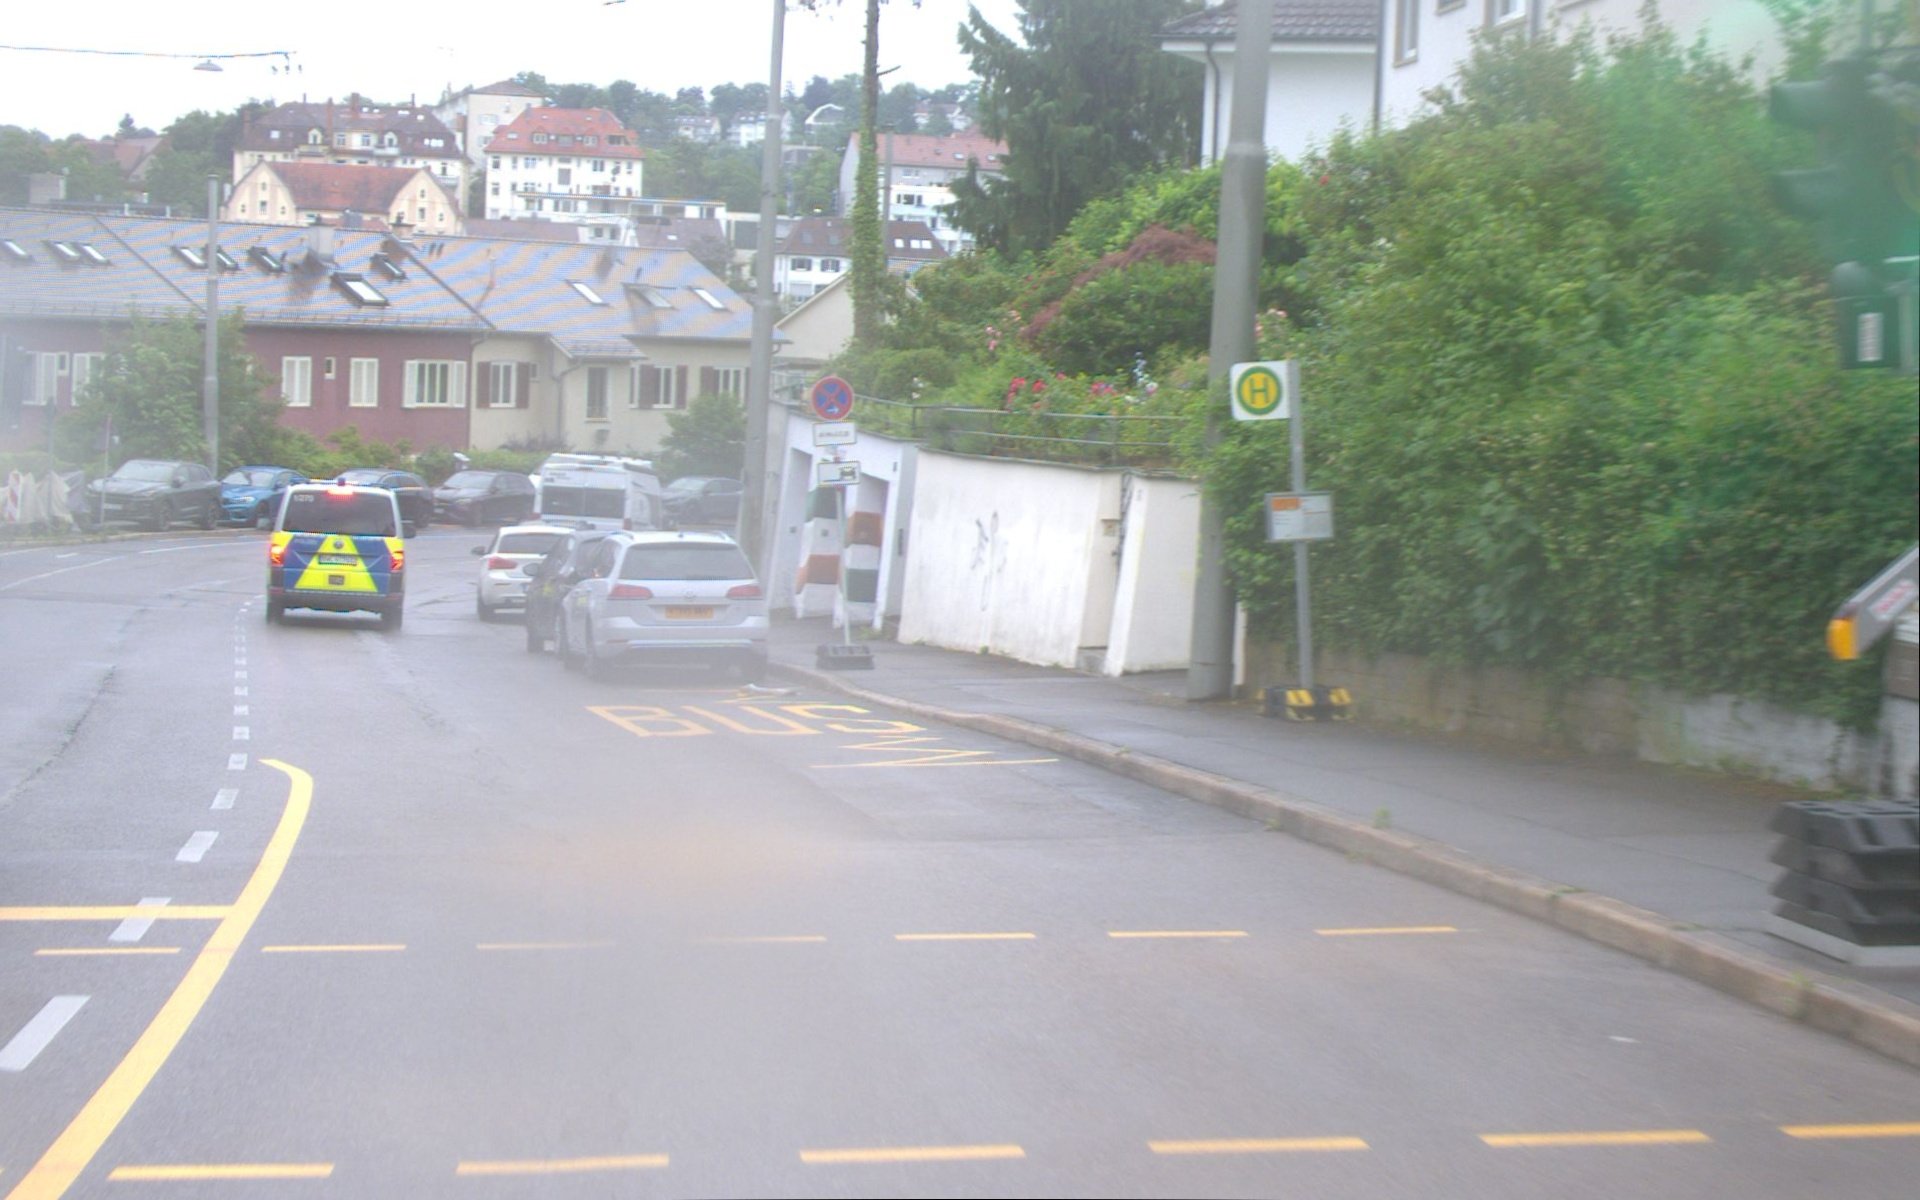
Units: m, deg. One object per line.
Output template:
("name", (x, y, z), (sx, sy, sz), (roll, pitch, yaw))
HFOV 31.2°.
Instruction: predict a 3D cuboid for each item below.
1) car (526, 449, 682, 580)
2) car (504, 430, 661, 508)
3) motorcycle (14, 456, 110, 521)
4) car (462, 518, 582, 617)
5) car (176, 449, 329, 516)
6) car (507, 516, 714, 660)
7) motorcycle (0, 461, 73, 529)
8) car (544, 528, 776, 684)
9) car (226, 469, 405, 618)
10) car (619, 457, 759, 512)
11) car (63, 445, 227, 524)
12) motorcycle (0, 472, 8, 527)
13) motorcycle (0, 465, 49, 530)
("car", (-7.264, -1.794, 70.759), (2.099, 2.533, 5.619), (2, 2, 5))
("car", (-10.908, -3.781, 99.794), (1.851, 2.071, 5.013), (6, 4, 28))
("motorcycle", (-19.591, -2.427, 75.025), (1.900, 1.266, 0.576), (3, 4, -21))
("car", (-6.808, -0.529, 53.195), (1.705, 1.409, 4.043), (1, 2, -9))
("car", (-17.299, -2.908, 84.237), (1.700, 1.399, 4.470), (6, 5, 16))
("car", (-4.063, -0.174, 39.450), (1.713, 1.508, 4.002), (0, 2, -15))
("motorcycle", (-19.821, -2.245, 73.472), (1.806, 1.298, 0.612), (8, 5, 38))
("car", (-3.093, 0.008, 34.650), (1.781, 1.415, 4.432), (0, 2, -12))
("car", (-9.053, -0.844, 48.135), (2.308, 1.932, 4.327), (-2, 3, -11))
("car", (-8.232, -3.519, 104.942), (1.812, 1.471, 4.514), (7, 4, 32))
("car", (-18.728, -2.684, 79.213), (1.923, 1.571, 4.386), (6, 4, 11))
("motorcycle", (-20.371, -2.056, 70.835), (0.510, 1.136, 1.921), (2, 4, 17))
("motorcycle", (-20.204, -2.186, 72.522), (1.802, 1.274, 0.511), (4, 4, 10))
